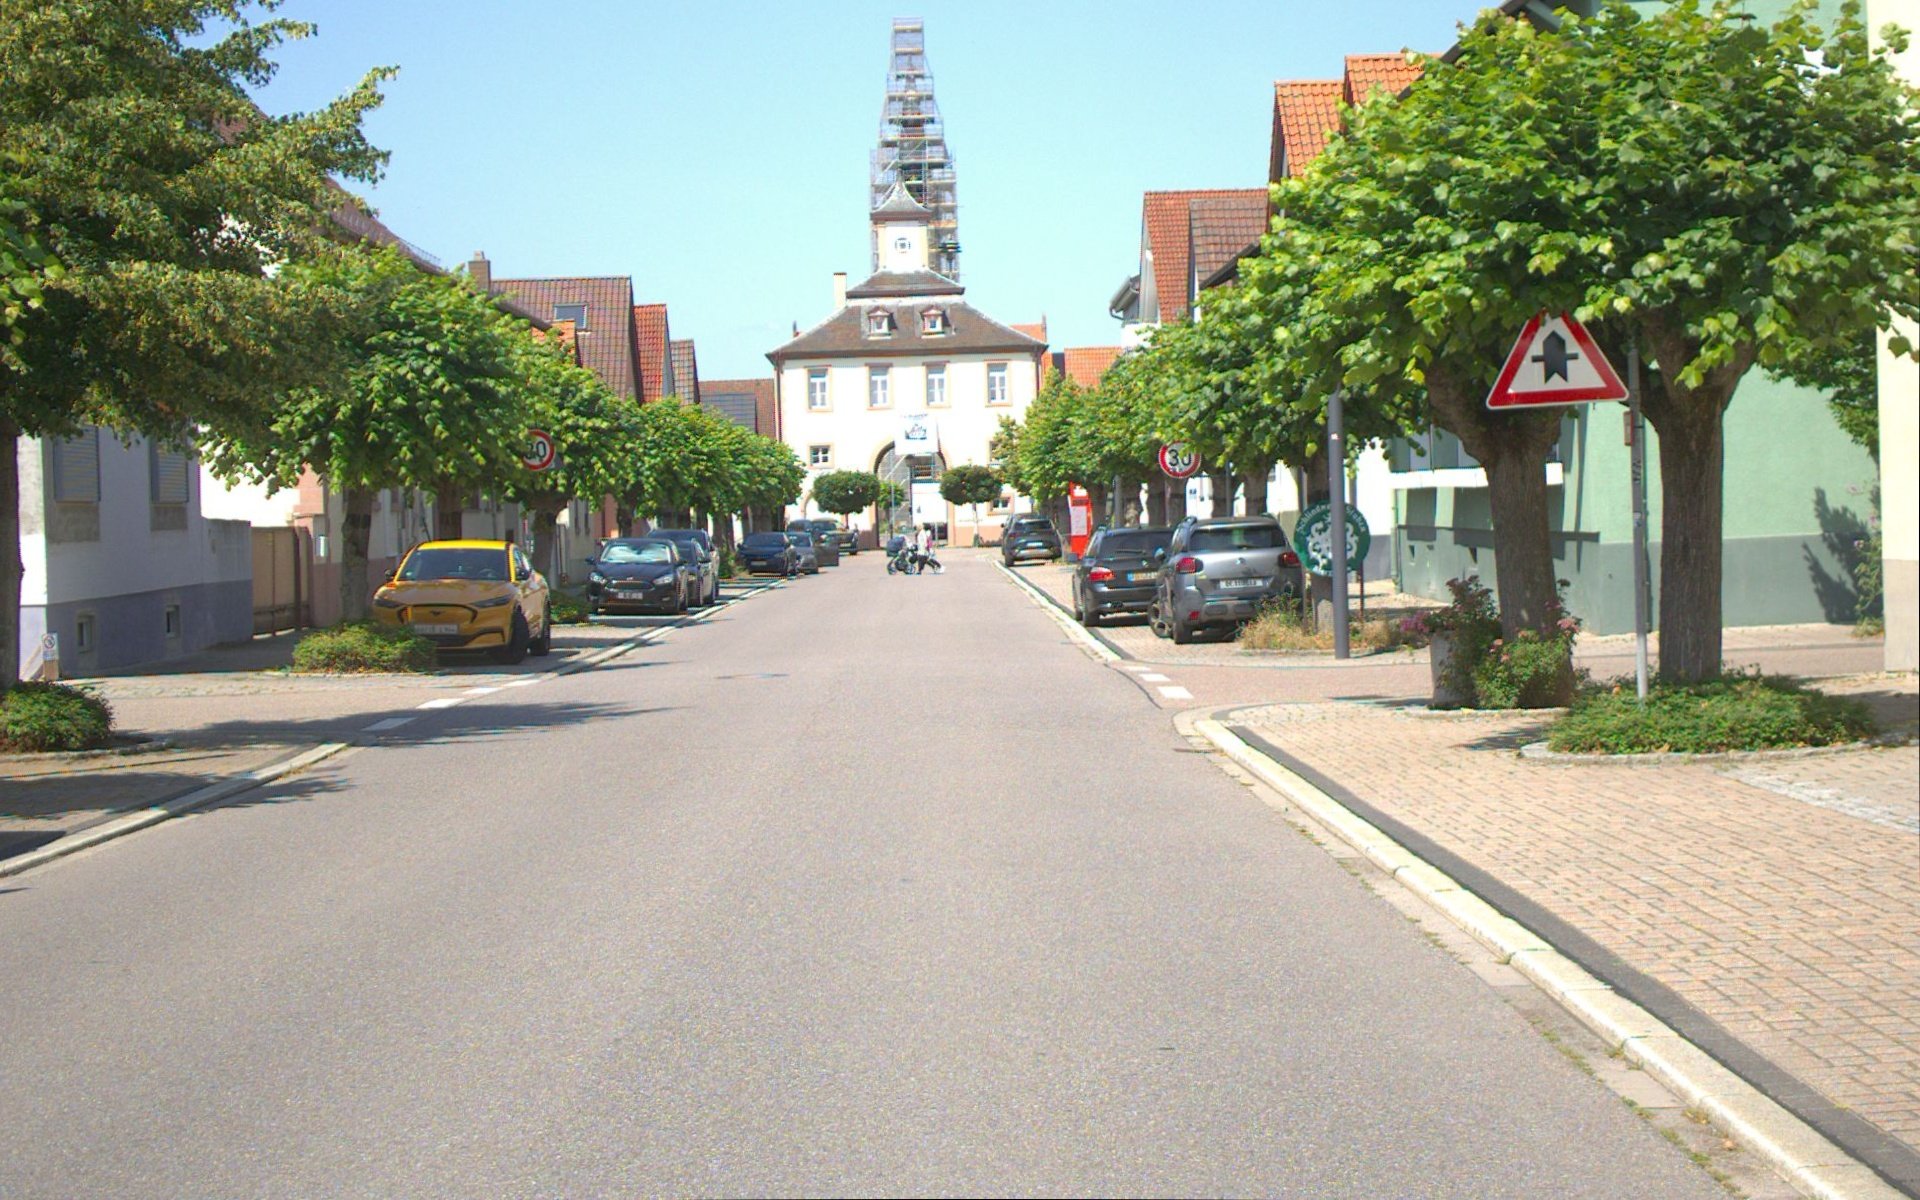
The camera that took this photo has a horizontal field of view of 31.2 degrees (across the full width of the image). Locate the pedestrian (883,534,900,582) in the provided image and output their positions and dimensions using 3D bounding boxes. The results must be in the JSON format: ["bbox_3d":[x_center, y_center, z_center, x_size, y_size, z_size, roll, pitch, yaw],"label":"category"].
[{"bbox_3d":[-2.035,-1.242,102.095,0.358,1.398,0.319,-1,1,37],"label":"pedestrian"}]

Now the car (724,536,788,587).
[{"bbox_3d":[-6.506,-1.245,110.206,1.757,1.550,4.020,-2,1,0],"label":"car"}]

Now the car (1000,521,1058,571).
[{"bbox_3d":[2.310,-1.827,116.069,1.837,1.550,4.314,-3,1,0],"label":"car"}]

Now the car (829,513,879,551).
[{"bbox_3d":[-4.720,-2.997,152.289,1.993,1.606,4.507,0,0,-4],"label":"car"}]

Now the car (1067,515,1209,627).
[{"bbox_3d":[2.694,-0.474,52.942,1.837,1.550,4.314,-3,1,-1],"label":"car"}]

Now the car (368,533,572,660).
[{"bbox_3d":[-6.449,-0.089,45.744,1.993,1.606,4.689,0,1,1],"label":"car"}]

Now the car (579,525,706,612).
[{"bbox_3d":[-6.141,-0.645,67.011,1.993,1.606,4.689,0,2,1],"label":"car"}]

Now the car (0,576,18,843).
[{"bbox_3d":[-5.907,0.620,16.050,1.840,1.391,4.407,-1,1,-1],"label":"car"}]

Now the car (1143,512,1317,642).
[{"bbox_3d":[3.515,-0.334,45.347,1.837,1.602,4.000,-1,1,-2],"label":"car"}]

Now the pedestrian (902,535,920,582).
[{"bbox_3d":[-1.454,-1.241,102.370,0.358,1.398,0.319,-1,1,37],"label":"pedestrian"}]

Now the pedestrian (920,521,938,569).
[{"bbox_3d":[-0.909,-1.610,101.356,0.358,1.398,0.319,-1,1,37],"label":"pedestrian"}]
